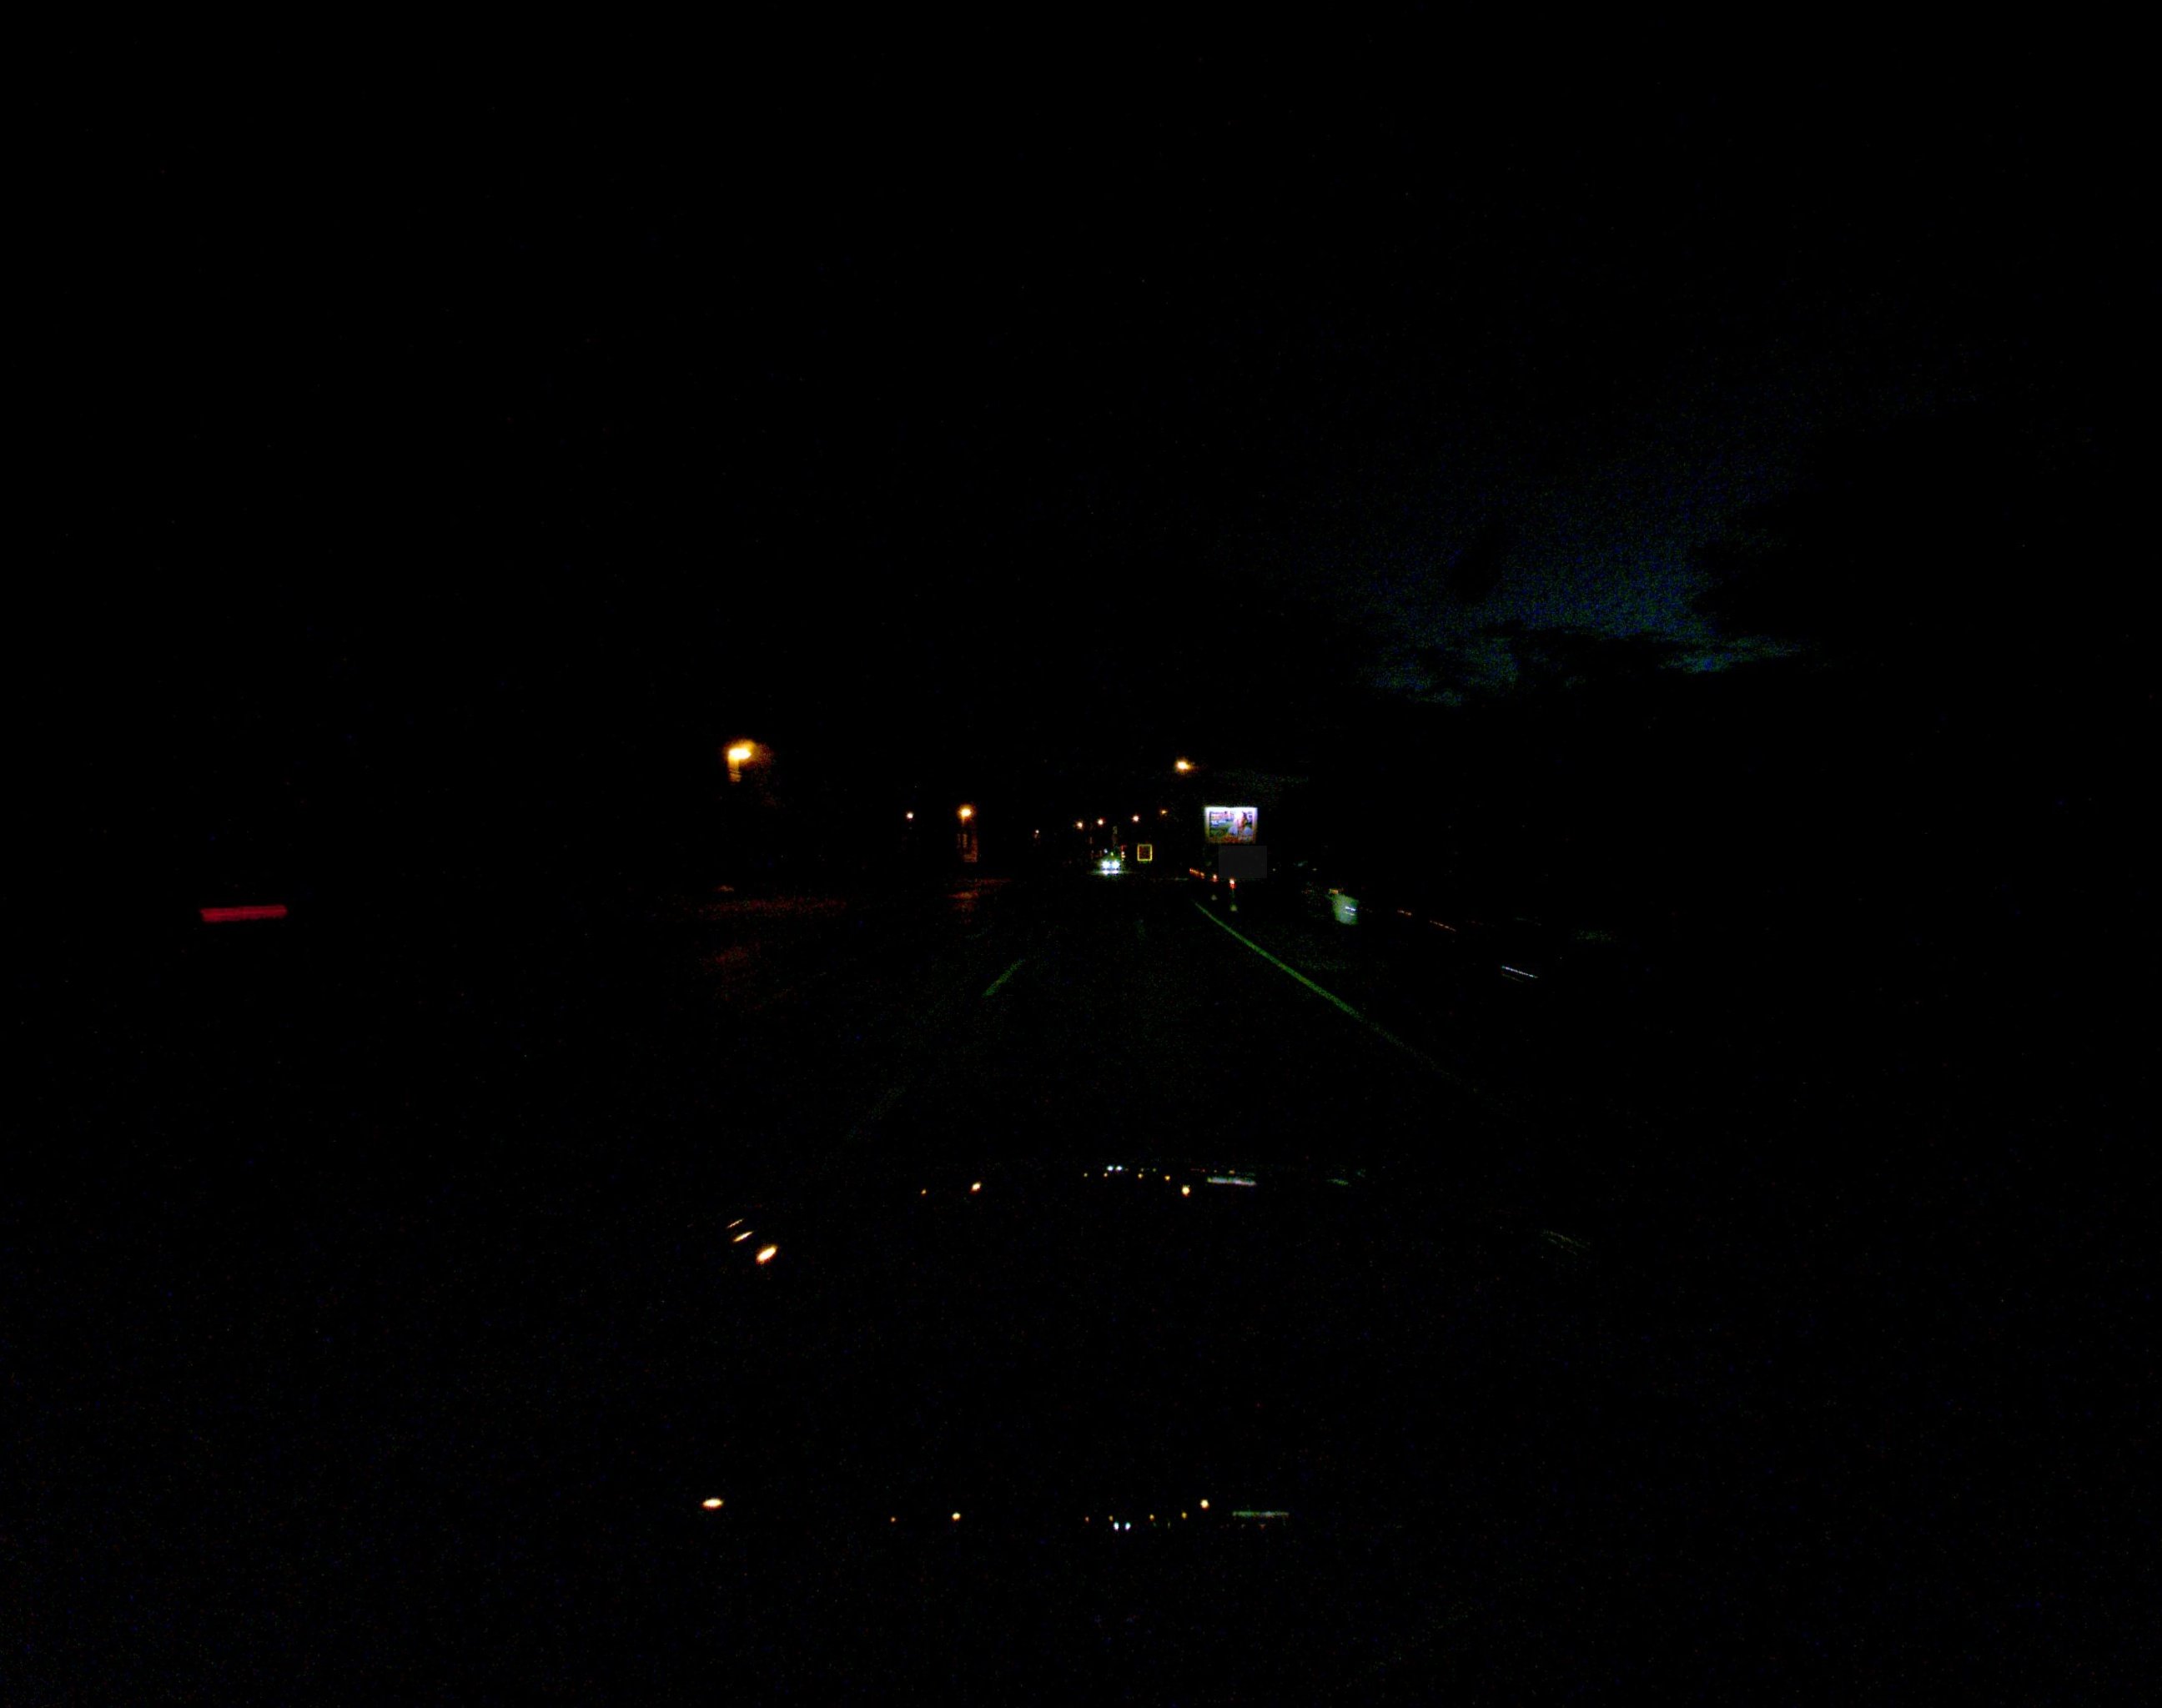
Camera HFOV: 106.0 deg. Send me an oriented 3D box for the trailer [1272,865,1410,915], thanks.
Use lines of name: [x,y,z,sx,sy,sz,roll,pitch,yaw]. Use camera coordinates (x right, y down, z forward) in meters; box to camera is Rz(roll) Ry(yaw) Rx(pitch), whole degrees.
trailer: [7.387,0.930,24.426,2.162,0.967,9.635,2,1,7]

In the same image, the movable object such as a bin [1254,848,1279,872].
movable object such as a bin: [21.309,0.698,93.841,2.217,2.724,3.869,1,0,4]

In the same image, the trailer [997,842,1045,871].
trailer: [-5.838,0.252,79.017,4.328,2.720,2.003,-1,0,4]

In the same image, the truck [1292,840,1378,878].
truck: [18.213,0.328,58.582,5.505,2.600,2.475,1,0,4]

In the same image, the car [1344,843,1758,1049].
car: [4.341,0.689,8.490,1.985,1.552,4.330,1,1,3]

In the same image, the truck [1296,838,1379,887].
truck: [12.903,0.405,41.618,2.366,2.284,7.753,1,0,5]

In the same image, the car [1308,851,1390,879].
car: [18.322,0.758,55.901,5.045,1.836,1.993,0,0,8]

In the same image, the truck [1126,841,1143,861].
truck: [10.840,-0.592,165.933,2.824,3.983,6.043,-1,0,-3]

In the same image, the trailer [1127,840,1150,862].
trailer: [11.264,-0.625,159.944,2.802,3.983,13.961,-1,0,-3]

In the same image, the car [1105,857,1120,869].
car: [4.674,1.337,120.649,1.984,1.627,4.759,1,0,5]

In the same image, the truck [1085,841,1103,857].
truck: [3.301,-1.189,210.420,3.517,3.983,10.318,-1,0,-7]

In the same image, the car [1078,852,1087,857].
car: [0.373,0.114,225.600,1.853,1.519,3.805,-1,0,-10]

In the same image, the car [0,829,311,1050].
car: [-7.949,0.546,4.988,1.844,1.445,4.913,1,0,-2]

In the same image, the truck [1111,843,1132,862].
truck: [8.786,-0.428,177.389,2.828,3.983,10.314,-1,0,-8]

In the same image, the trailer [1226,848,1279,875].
trailer: [13.362,0.584,63.554,3.713,2.013,1.624,-1,0,25]

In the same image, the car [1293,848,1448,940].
car: [5.531,0.680,16.096,1.925,1.552,4.006,1,0,5]

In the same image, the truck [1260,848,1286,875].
truck: [20.413,0.779,86.752,2.170,2.748,7.334,1,0,9]
